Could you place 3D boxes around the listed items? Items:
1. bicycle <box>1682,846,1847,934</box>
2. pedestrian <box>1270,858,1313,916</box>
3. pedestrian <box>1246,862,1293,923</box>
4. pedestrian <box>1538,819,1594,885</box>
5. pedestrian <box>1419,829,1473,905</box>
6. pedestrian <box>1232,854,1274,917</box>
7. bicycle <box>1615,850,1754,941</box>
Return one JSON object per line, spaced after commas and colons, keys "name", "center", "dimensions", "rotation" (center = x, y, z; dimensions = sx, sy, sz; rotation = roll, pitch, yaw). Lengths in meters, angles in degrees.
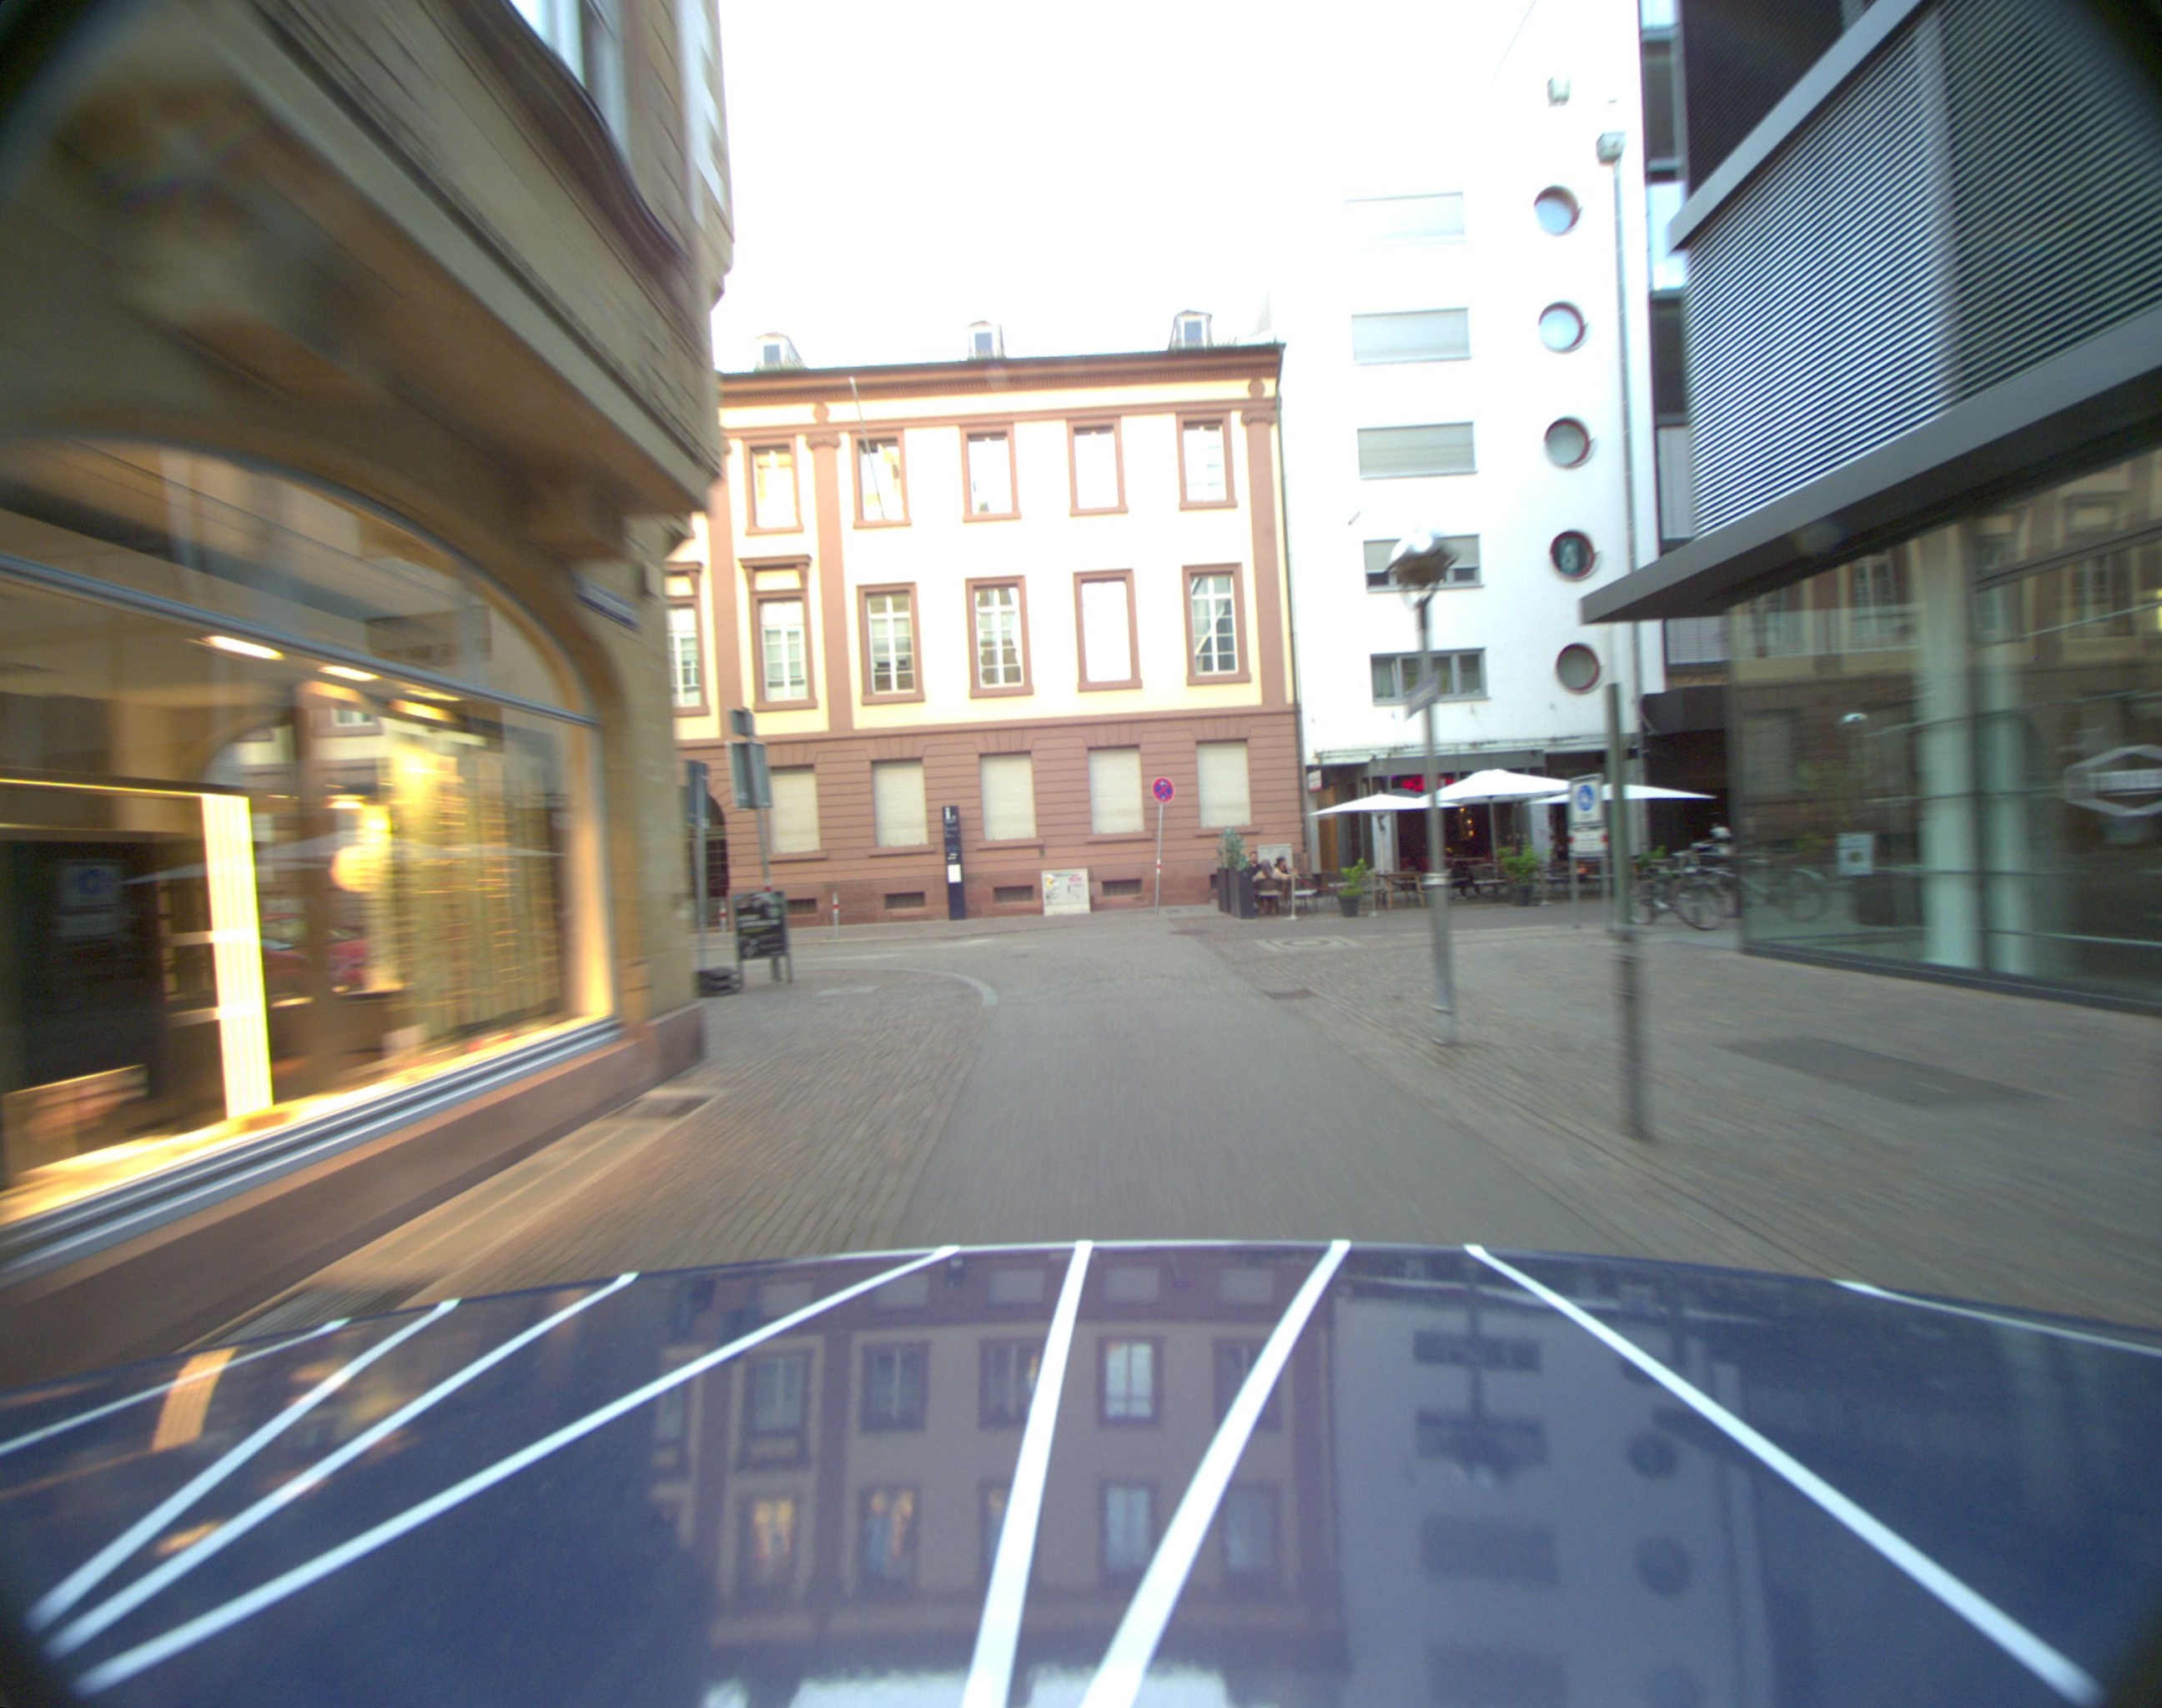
{"name": "bicycle", "center": [9.731, 0.495, 10.935], "dimensions": [0.467, 1.114, 2.016], "rotation": [-4, -1, -1]}
{"name": "pedestrian", "center": [4.670, 0.719, 16.890], "dimensions": [0.673, 1.177, 0.792], "rotation": [-3, 2, -2]}
{"name": "pedestrian", "center": [3.934, 0.783, 15.898], "dimensions": [0.673, 1.177, 0.792], "rotation": [-4, 2, -6]}
{"name": "pedestrian", "center": [12.704, -0.056, 19.918], "dimensions": [0.800, 1.649, 0.858], "rotation": [-4, 1, -17]}
{"name": "pedestrian", "center": [8.307, 0.289, 17.317], "dimensions": [0.725, 1.639, 0.792], "rotation": [-4, 1, -6]}
{"name": "pedestrian", "center": [3.843, 0.693, 17.053], "dimensions": [0.673, 1.324, 0.792], "rotation": [-3, 2, -2]}
{"name": "bicycle", "center": [8.259, 0.549, 10.493], "dimensions": [0.467, 1.129, 1.703], "rotation": [-4, -2, -1]}
